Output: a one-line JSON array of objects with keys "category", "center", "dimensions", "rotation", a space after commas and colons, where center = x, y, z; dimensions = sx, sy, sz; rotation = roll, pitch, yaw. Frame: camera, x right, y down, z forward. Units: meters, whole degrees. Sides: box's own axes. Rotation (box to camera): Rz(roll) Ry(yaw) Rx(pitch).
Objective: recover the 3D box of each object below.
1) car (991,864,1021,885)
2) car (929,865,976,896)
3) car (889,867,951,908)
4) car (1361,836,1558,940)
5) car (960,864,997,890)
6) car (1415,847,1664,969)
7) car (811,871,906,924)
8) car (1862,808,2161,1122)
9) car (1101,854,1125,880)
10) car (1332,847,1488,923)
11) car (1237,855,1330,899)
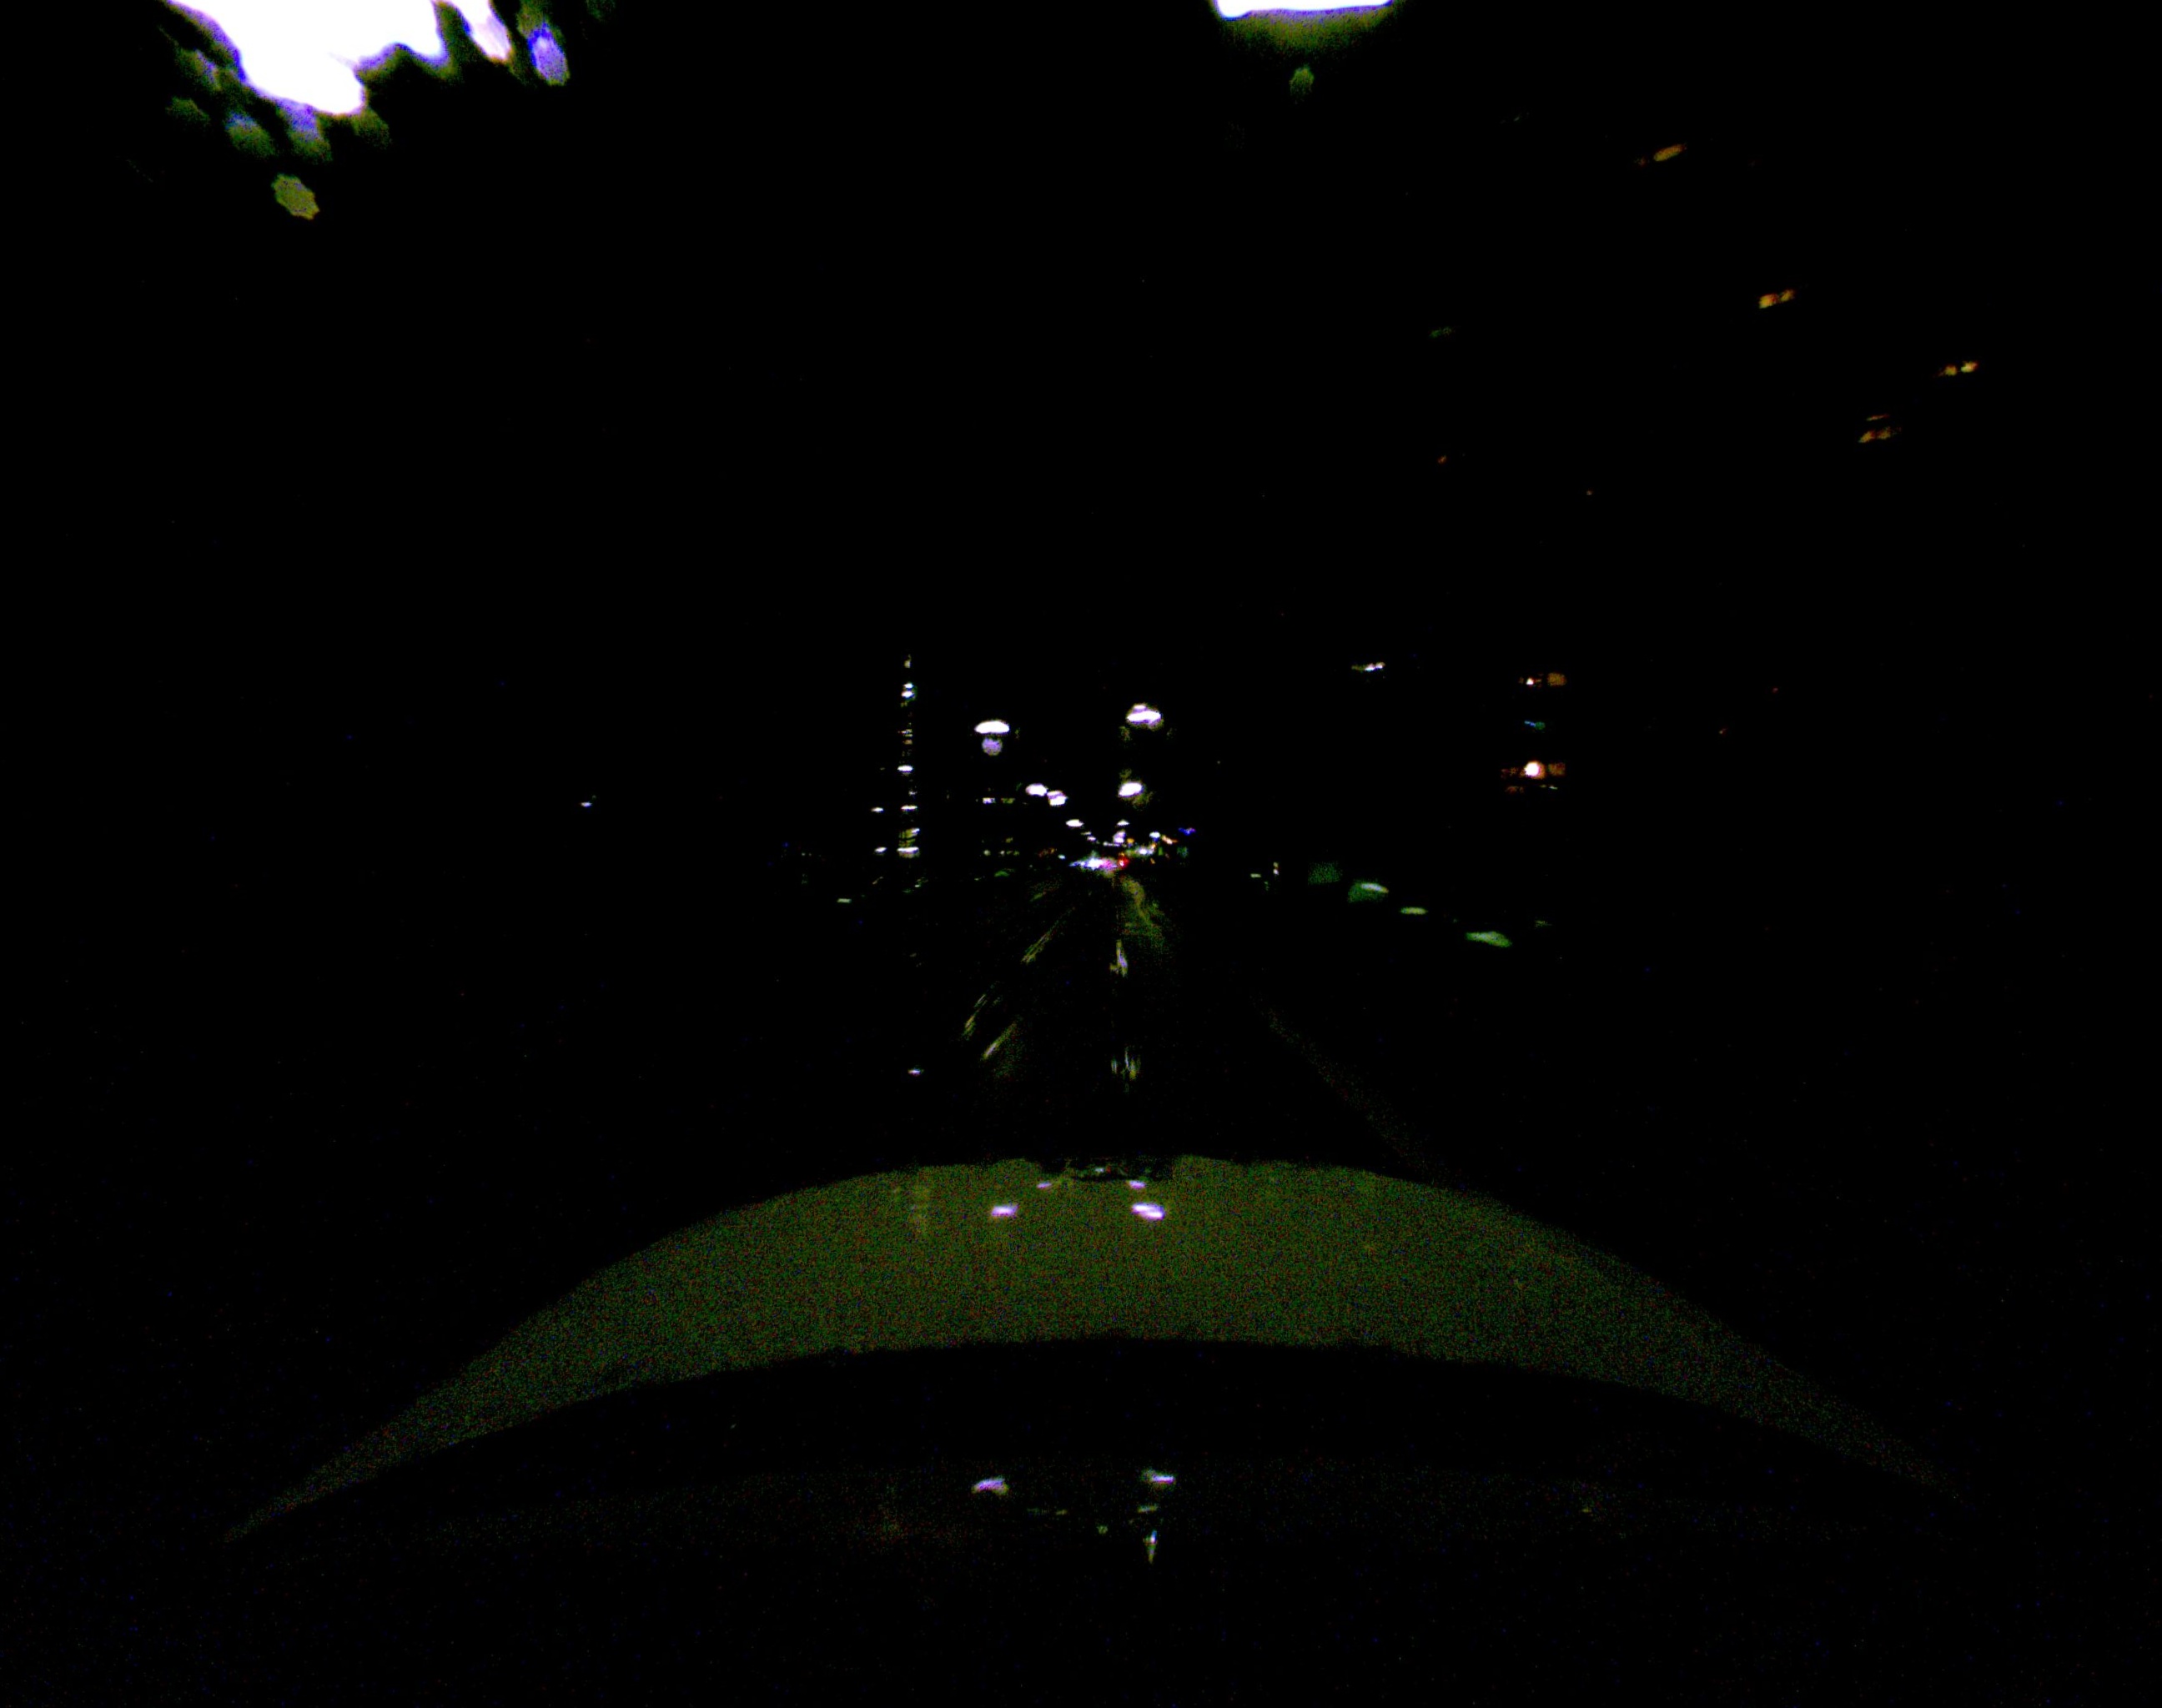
[{"category": "car", "center": [-6.362, 1.737, 69.685], "dimensions": [2.015, 1.761, 4.001], "rotation": [1, -1, 1]}, {"category": "car", "center": [-7.676, 1.592, 49.017], "dimensions": [2.015, 1.761, 4.001], "rotation": [1, -1, 1]}, {"category": "car", "center": [-7.552, 1.559, 38.596], "dimensions": [1.992, 1.785, 4.001], "rotation": [1, -1, 2]}, {"category": "car", "center": [7.318, 0.586, 15.558], "dimensions": [4.272, 1.698, 2.005], "rotation": [1, -1, -44]}, {"category": "car", "center": [-7.286, 1.630, 58.372], "dimensions": [2.015, 1.761, 4.001], "rotation": [1, -1, 1]}, {"category": "car", "center": [6.804, 0.672, 11.872], "dimensions": [4.271, 1.454, 1.928], "rotation": [1, -1, -42]}, {"category": "car", "center": [-8.084, 1.535, 30.110], "dimensions": [2.102, 1.765, 4.963], "rotation": [1, -1, -1]}, {"category": "car", "center": [6.856, 0.602, 5.657], "dimensions": [2.030, 1.623, 3.851], "rotation": [0, -1, 44]}, {"category": "car", "center": [3.149, 1.287, 80.563], "dimensions": [2.209, 2.442, 5.383], "rotation": [0, -1, 0]}, {"category": "car", "center": [7.687, 0.678, 18.883], "dimensions": [3.984, 1.572, 1.887], "rotation": [1, -1, -44]}, {"category": "car", "center": [7.824, 0.867, 31.220], "dimensions": [1.886, 1.572, 3.986], "rotation": [0, -1, 41]}]
